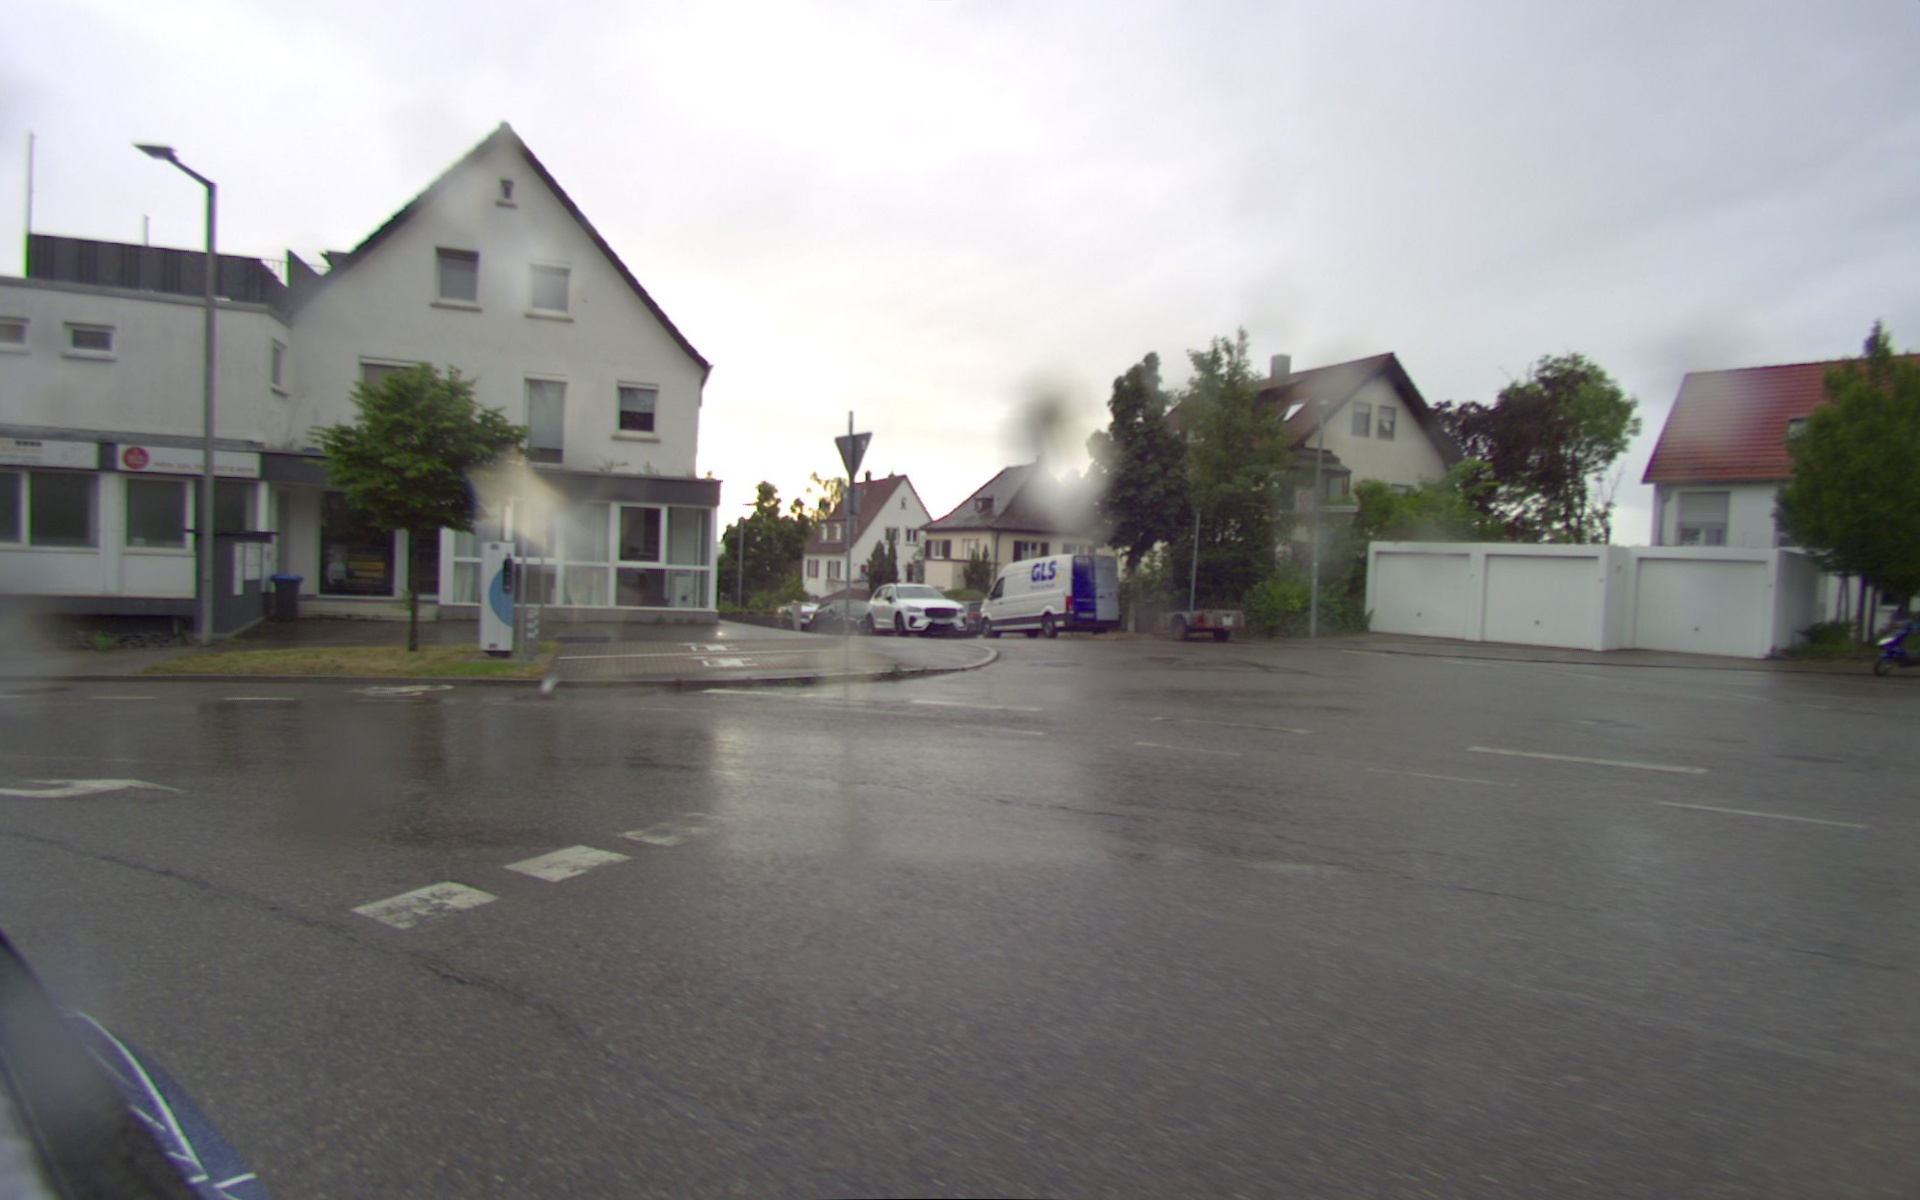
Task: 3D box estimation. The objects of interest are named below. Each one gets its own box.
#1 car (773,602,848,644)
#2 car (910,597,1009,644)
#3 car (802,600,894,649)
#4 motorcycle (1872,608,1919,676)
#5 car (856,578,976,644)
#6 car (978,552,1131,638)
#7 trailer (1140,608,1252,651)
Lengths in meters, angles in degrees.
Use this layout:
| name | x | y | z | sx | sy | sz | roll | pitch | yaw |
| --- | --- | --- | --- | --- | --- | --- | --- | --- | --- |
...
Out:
| name | x | y | z | sx | sy | sz | roll | pitch | yaw |
| --- | --- | --- | --- | --- | --- | --- | --- | --- | --- |
| car | -6.015 | 0.862 | 40.301 | 2.032 | 1.521 | 4.496 | 0 | 0 | -21 |
| car | -0.099 | 0.732 | 39.302 | 2.031 | 1.719 | 4.810 | 0 | 0 | -25 |
| car | -3.871 | 0.783 | 34.311 | 2.032 | 1.521 | 4.496 | 0 | 0 | -21 |
| motorcycle | 19.511 | 0.833 | 20.028 | 2.034 | 1.332 | 0.703 | 0 | 0 | 25 |
| car | -1.366 | 0.273 | 28.986 | 2.032 | 1.719 | 4.809 | 0 | 0 | -21 |
| car | 2.893 | -0.163 | 33.016 | 2.153 | 2.542 | 6.275 | 0 | 0 | -24 |
| trailer | 6.068 | 0.740 | 26.277 | 1.566 | 1.014 | 2.832 | -1 | 0 | -18 |
